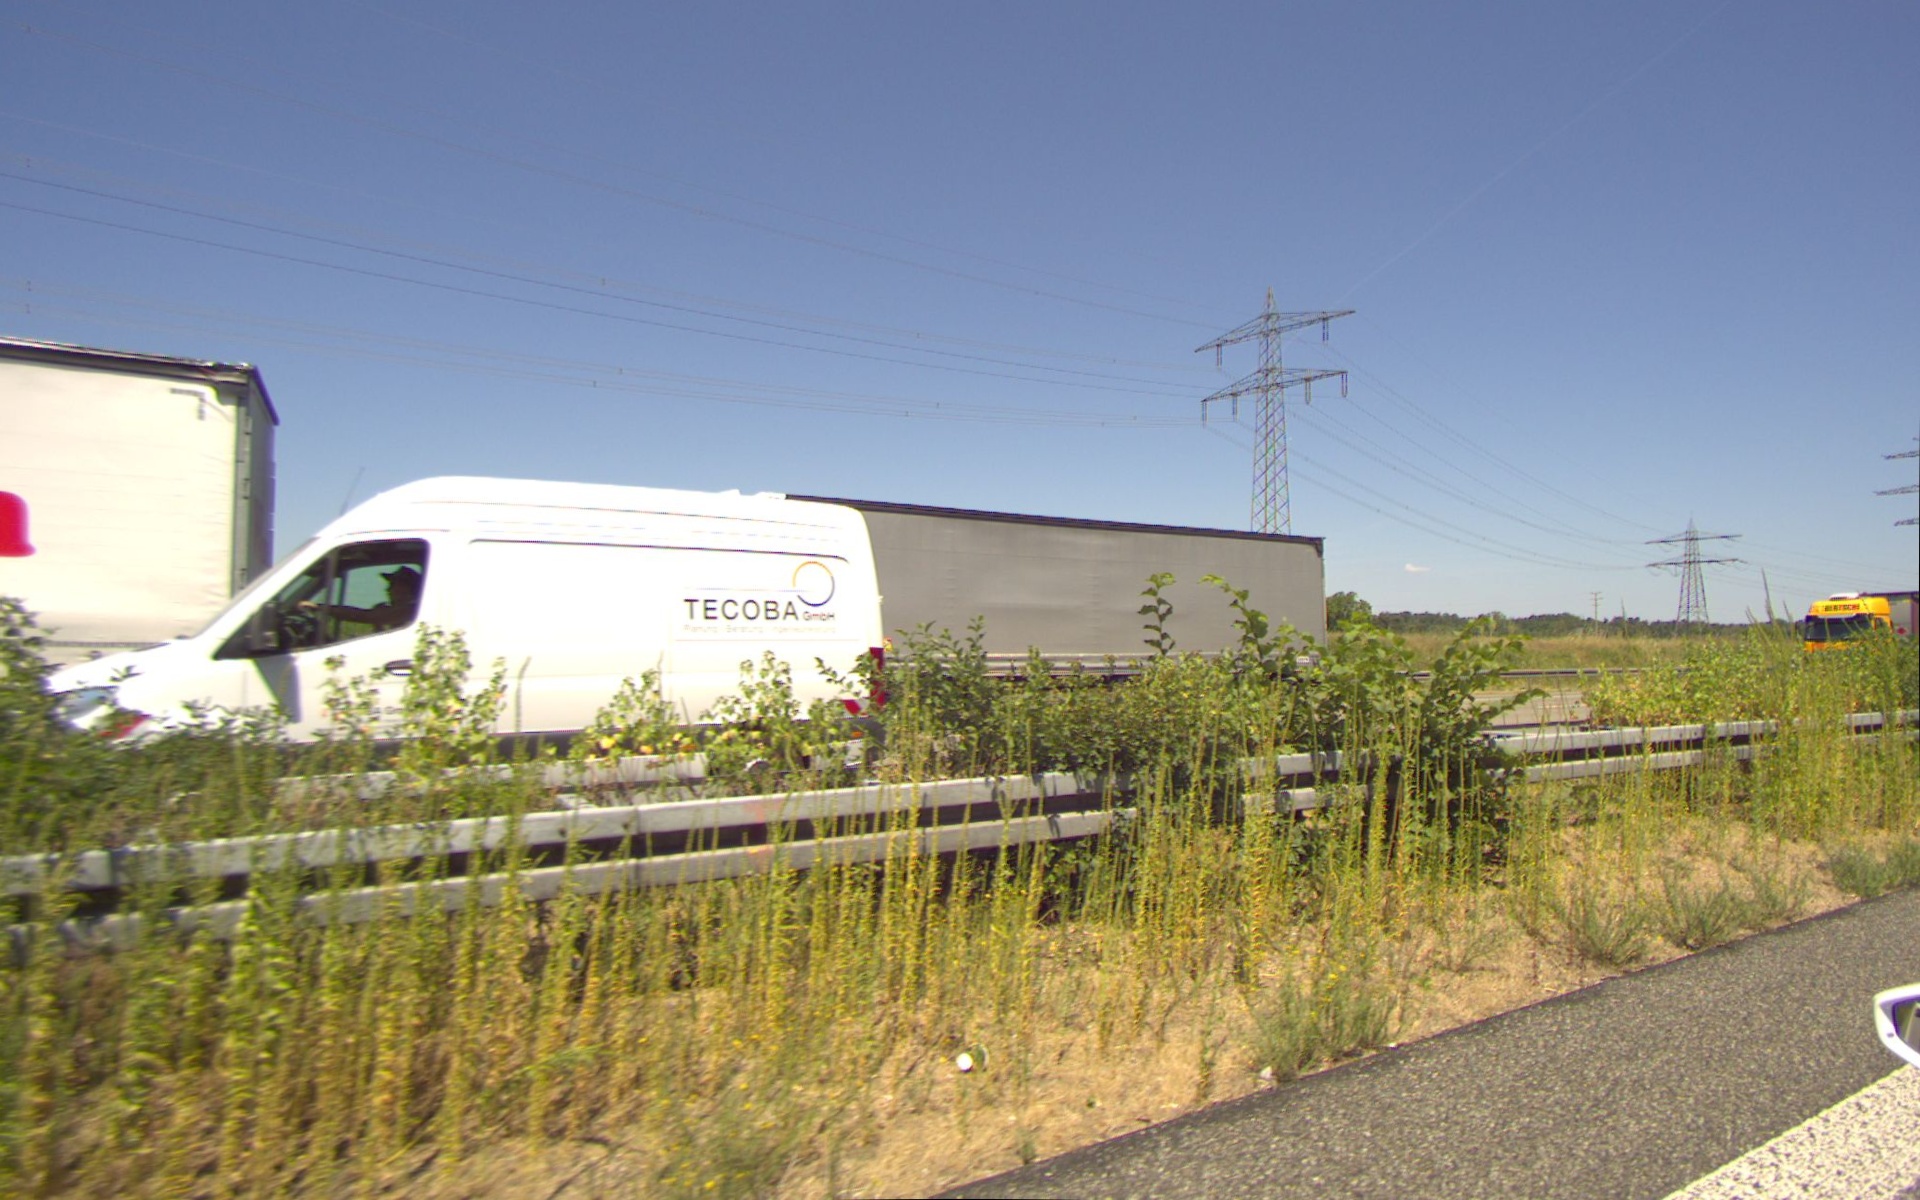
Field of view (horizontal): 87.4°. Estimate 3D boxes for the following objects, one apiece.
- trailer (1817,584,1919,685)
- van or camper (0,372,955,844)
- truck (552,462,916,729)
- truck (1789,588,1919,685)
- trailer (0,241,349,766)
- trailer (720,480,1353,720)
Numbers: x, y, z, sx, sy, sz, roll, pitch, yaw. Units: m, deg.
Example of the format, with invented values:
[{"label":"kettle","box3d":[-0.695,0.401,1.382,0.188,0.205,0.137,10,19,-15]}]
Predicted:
[{"label":"trailer","box3d":[41.406,1.554,44.209,9.314,4.099,2.724,2,-2,-31]},{"label":"van or camper","box3d":[-3.215,0.125,8.012,6.214,2.616,1.983,2,-1,-31]},{"label":"truck","box3d":[-3.851,0.009,17.311,5.505,3.904,2.762,2,-1,-31]},{"label":"truck","box3d":[37.328,1.530,41.718,5.580,3.776,2.712,2,-2,-31]},{"label":"trailer","box3d":[-12.729,-0.916,7.235,14.076,4.407,2.755,2,-1,-31]},{"label":"trailer","box3d":[2.340,0.181,20.947,14.072,3.880,2.756,2,-1,-30]}]
